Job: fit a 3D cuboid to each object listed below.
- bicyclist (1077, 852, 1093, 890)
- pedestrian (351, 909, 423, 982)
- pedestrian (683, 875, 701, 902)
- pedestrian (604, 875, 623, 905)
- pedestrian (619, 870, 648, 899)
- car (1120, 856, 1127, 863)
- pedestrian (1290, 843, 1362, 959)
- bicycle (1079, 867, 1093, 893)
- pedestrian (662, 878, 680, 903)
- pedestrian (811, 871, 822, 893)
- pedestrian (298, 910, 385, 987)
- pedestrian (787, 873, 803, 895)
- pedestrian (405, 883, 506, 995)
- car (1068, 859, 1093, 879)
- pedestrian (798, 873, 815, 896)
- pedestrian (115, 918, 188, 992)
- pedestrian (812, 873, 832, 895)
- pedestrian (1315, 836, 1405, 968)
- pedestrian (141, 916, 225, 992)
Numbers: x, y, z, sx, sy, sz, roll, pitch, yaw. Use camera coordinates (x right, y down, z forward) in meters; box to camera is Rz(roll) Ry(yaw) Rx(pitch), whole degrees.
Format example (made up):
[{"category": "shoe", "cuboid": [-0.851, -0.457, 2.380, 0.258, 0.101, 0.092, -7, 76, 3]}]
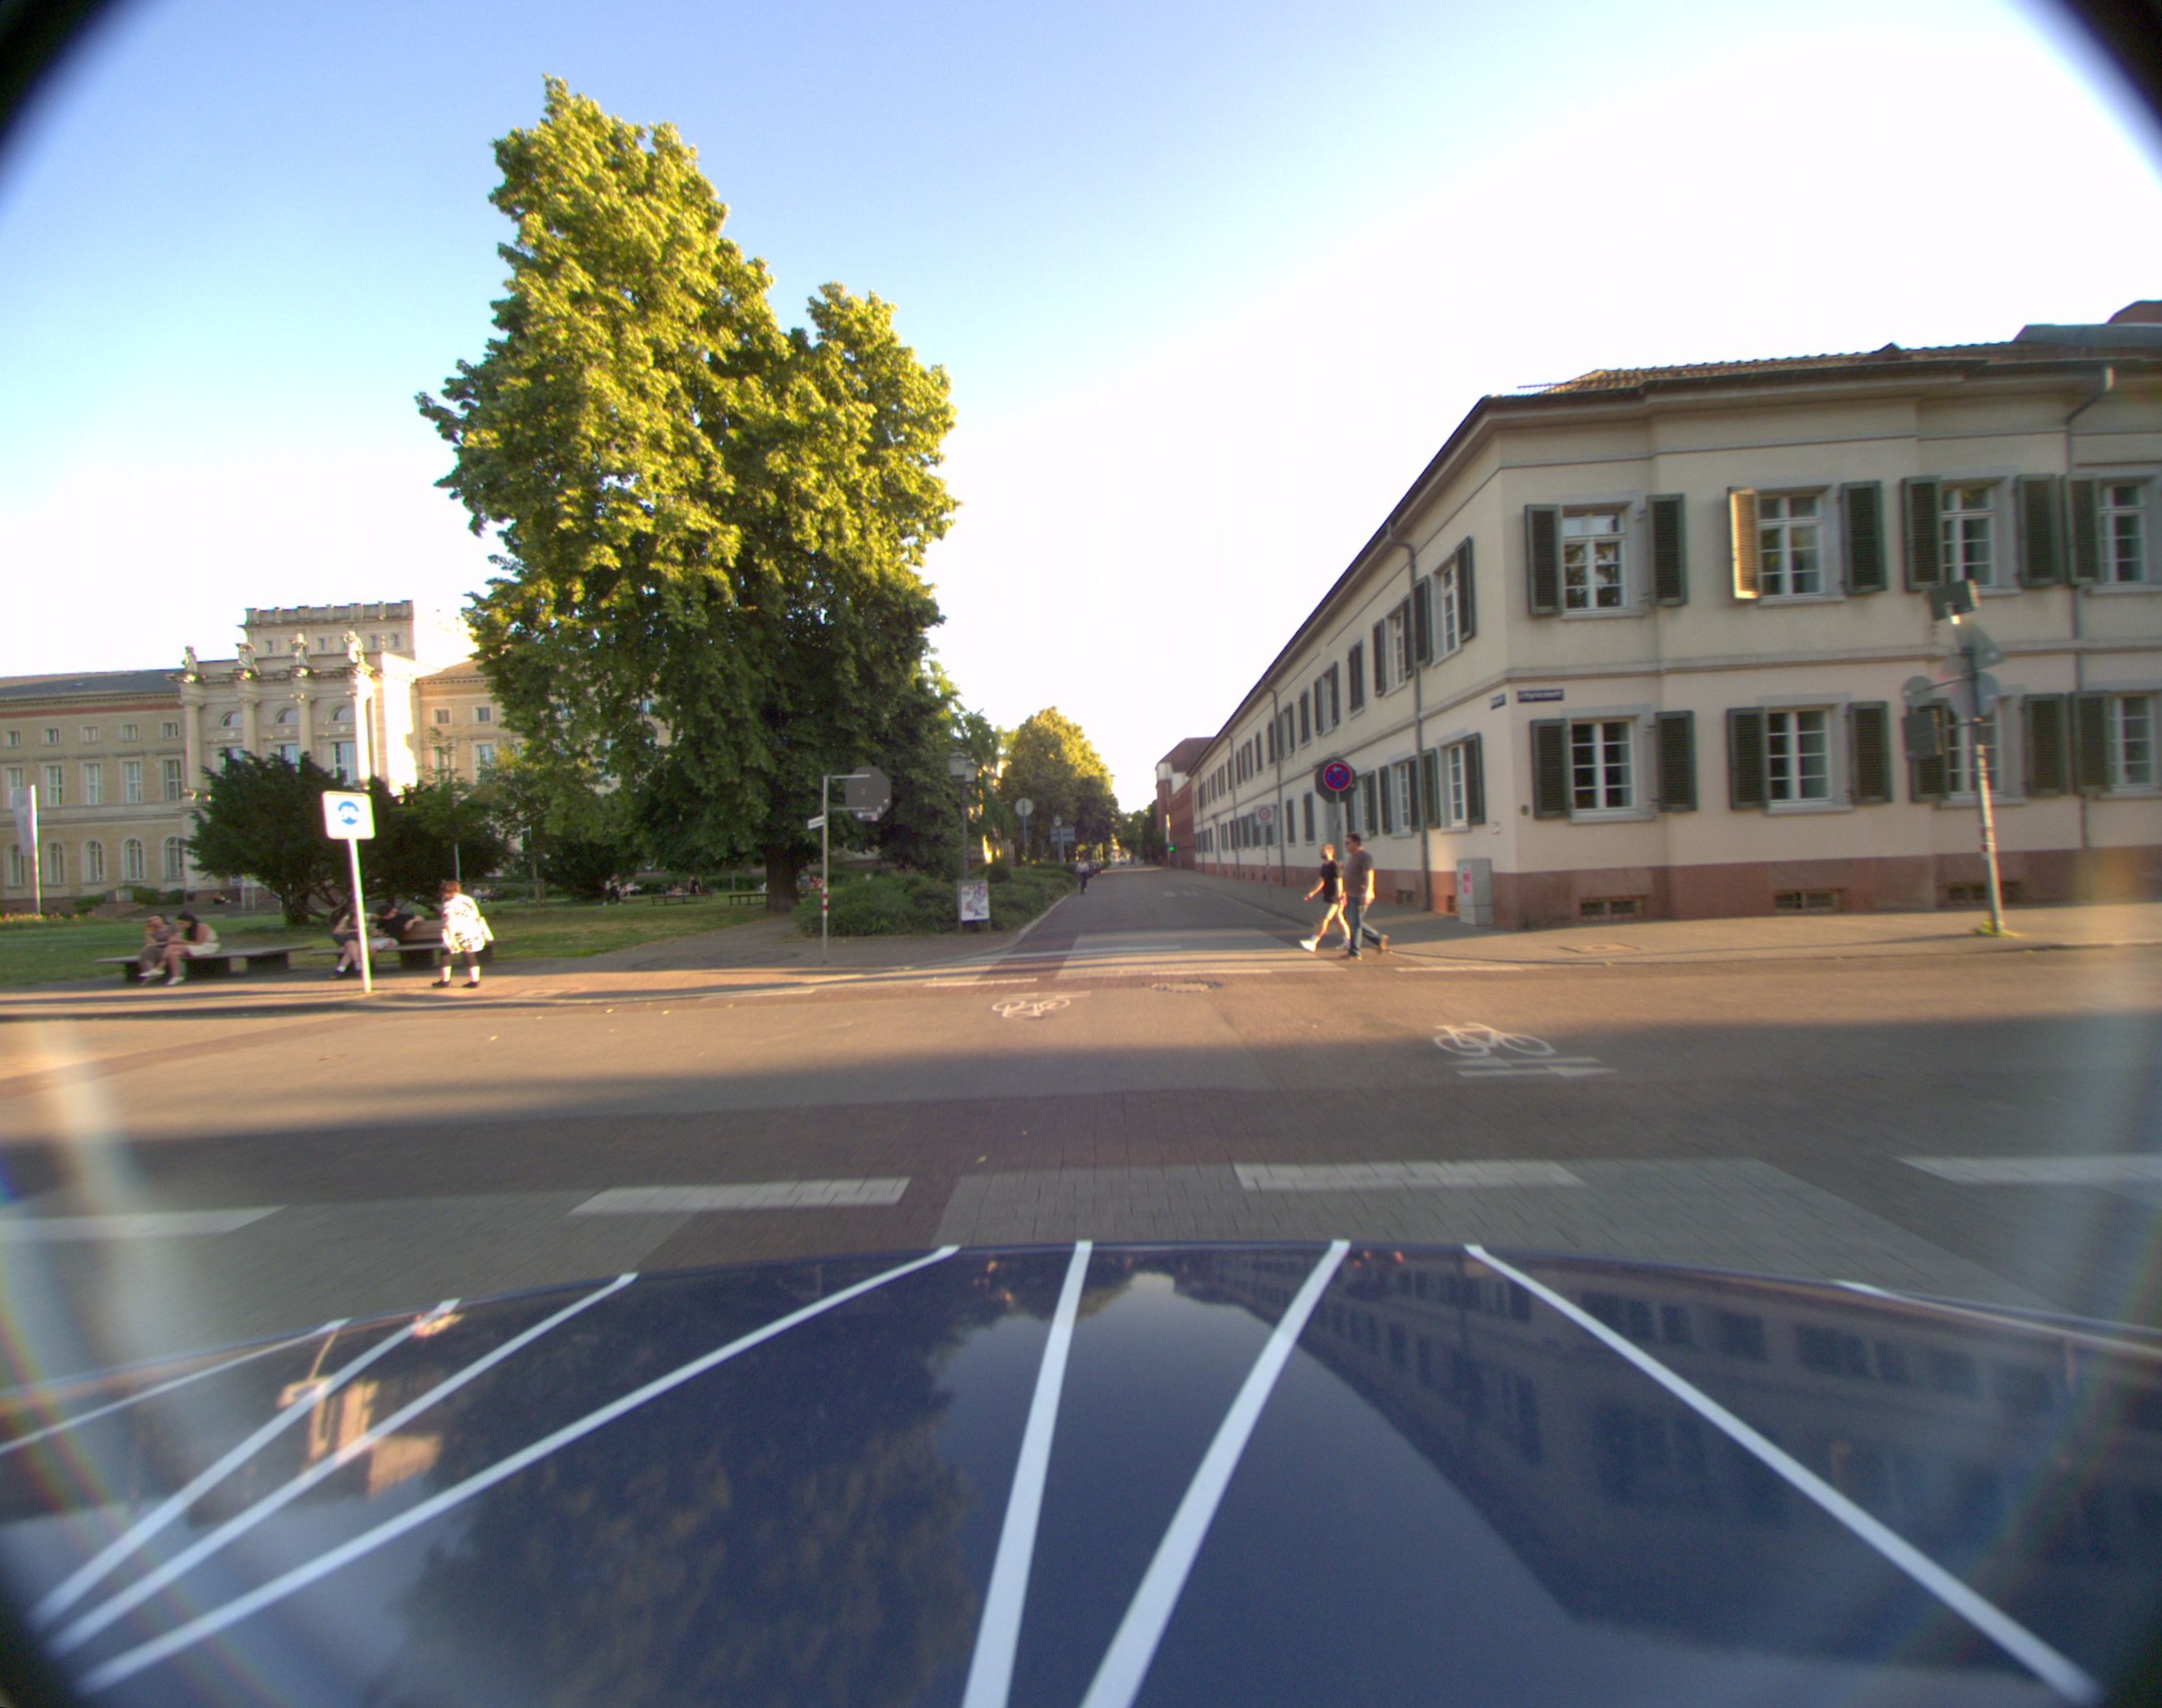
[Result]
[{"category": "bicyclist", "cuboid": [0.210, 0.827, 36.837, 0.672, 1.793, 1.060, -3, 0, 0]}, {"category": "pedestrian", "cuboid": [-12.268, 1.605, 13.447, 0.608, 1.197, 0.667, -2, 0, -3]}, {"category": "pedestrian", "cuboid": [-17.588, 1.556, 34.360, 0.605, 1.195, 0.394, -3, 1, -38]}, {"category": "pedestrian", "cuboid": [-23.510, 1.816, 38.247, 0.754, 1.435, 0.816, -3, 1, -32]}, {"category": "pedestrian", "cuboid": [-31.498, 2.146, 53.473, 1.395, 2.001, 0.982, -3, -1, 0]}, {"category": "car", "cuboid": [13.055, 1.556, 231.278, 1.998, 2.001, 4.002, -3, -1, 3]}, {"category": "pedestrian", "cuboid": [3.800, 0.707, 11.840, 0.858, 1.730, 0.650, -2, 1, 1]}, {"category": "bicycle", "cuboid": [0.236, 1.247, 36.878, 0.653, 1.175, 2.345, -2, 0, 0]}, {"category": "pedestrian", "cuboid": [-18.341, 1.627, 34.005, 0.605, 1.102, 0.394, -3, 1, -42]}, {"category": "pedestrian", "cuboid": [-12.853, 1.366, 36.936, 0.396, 1.044, 0.603, -3, 1, -28]}, {"category": "pedestrian", "cuboid": [-12.861, 1.629, 13.246, 0.528, 1.197, 0.970, -2, 0, -3]}, {"category": "pedestrian", "cuboid": [-13.535, 1.414, 35.980, 0.605, 1.044, 0.394, -3, 1, -30]}, {"category": "pedestrian", "cuboid": [-9.602, 1.290, 11.681, 0.858, 1.616, 0.758, -2, 1, 10]}, {"category": "car", "cuboid": [-0.035, 1.270, 63.626, 1.814, 1.584, 4.002, -3, -1, 3]}, {"category": "pedestrian", "cuboid": [-12.829, 1.440, 35.519, 0.605, 1.044, 0.394, -3, 1, -33]}, {"category": "pedestrian", "cuboid": [-16.316, 1.761, 13.348, 0.500, 1.207, 0.592, -3, 0, -3]}, {"category": "pedestrian", "cuboid": [-12.377, 1.429, 36.322, 0.798, 1.044, 0.394, -3, 1, -33]}, {"category": "pedestrian", "cuboid": [3.931, 0.657, 10.773, 0.941, 1.777, 0.762, -2, 1, 1]}, {"category": "pedestrian", "cuboid": [-15.693, 1.730, 13.292, 0.608, 1.207, 0.667, -2, 0, -3]}]
